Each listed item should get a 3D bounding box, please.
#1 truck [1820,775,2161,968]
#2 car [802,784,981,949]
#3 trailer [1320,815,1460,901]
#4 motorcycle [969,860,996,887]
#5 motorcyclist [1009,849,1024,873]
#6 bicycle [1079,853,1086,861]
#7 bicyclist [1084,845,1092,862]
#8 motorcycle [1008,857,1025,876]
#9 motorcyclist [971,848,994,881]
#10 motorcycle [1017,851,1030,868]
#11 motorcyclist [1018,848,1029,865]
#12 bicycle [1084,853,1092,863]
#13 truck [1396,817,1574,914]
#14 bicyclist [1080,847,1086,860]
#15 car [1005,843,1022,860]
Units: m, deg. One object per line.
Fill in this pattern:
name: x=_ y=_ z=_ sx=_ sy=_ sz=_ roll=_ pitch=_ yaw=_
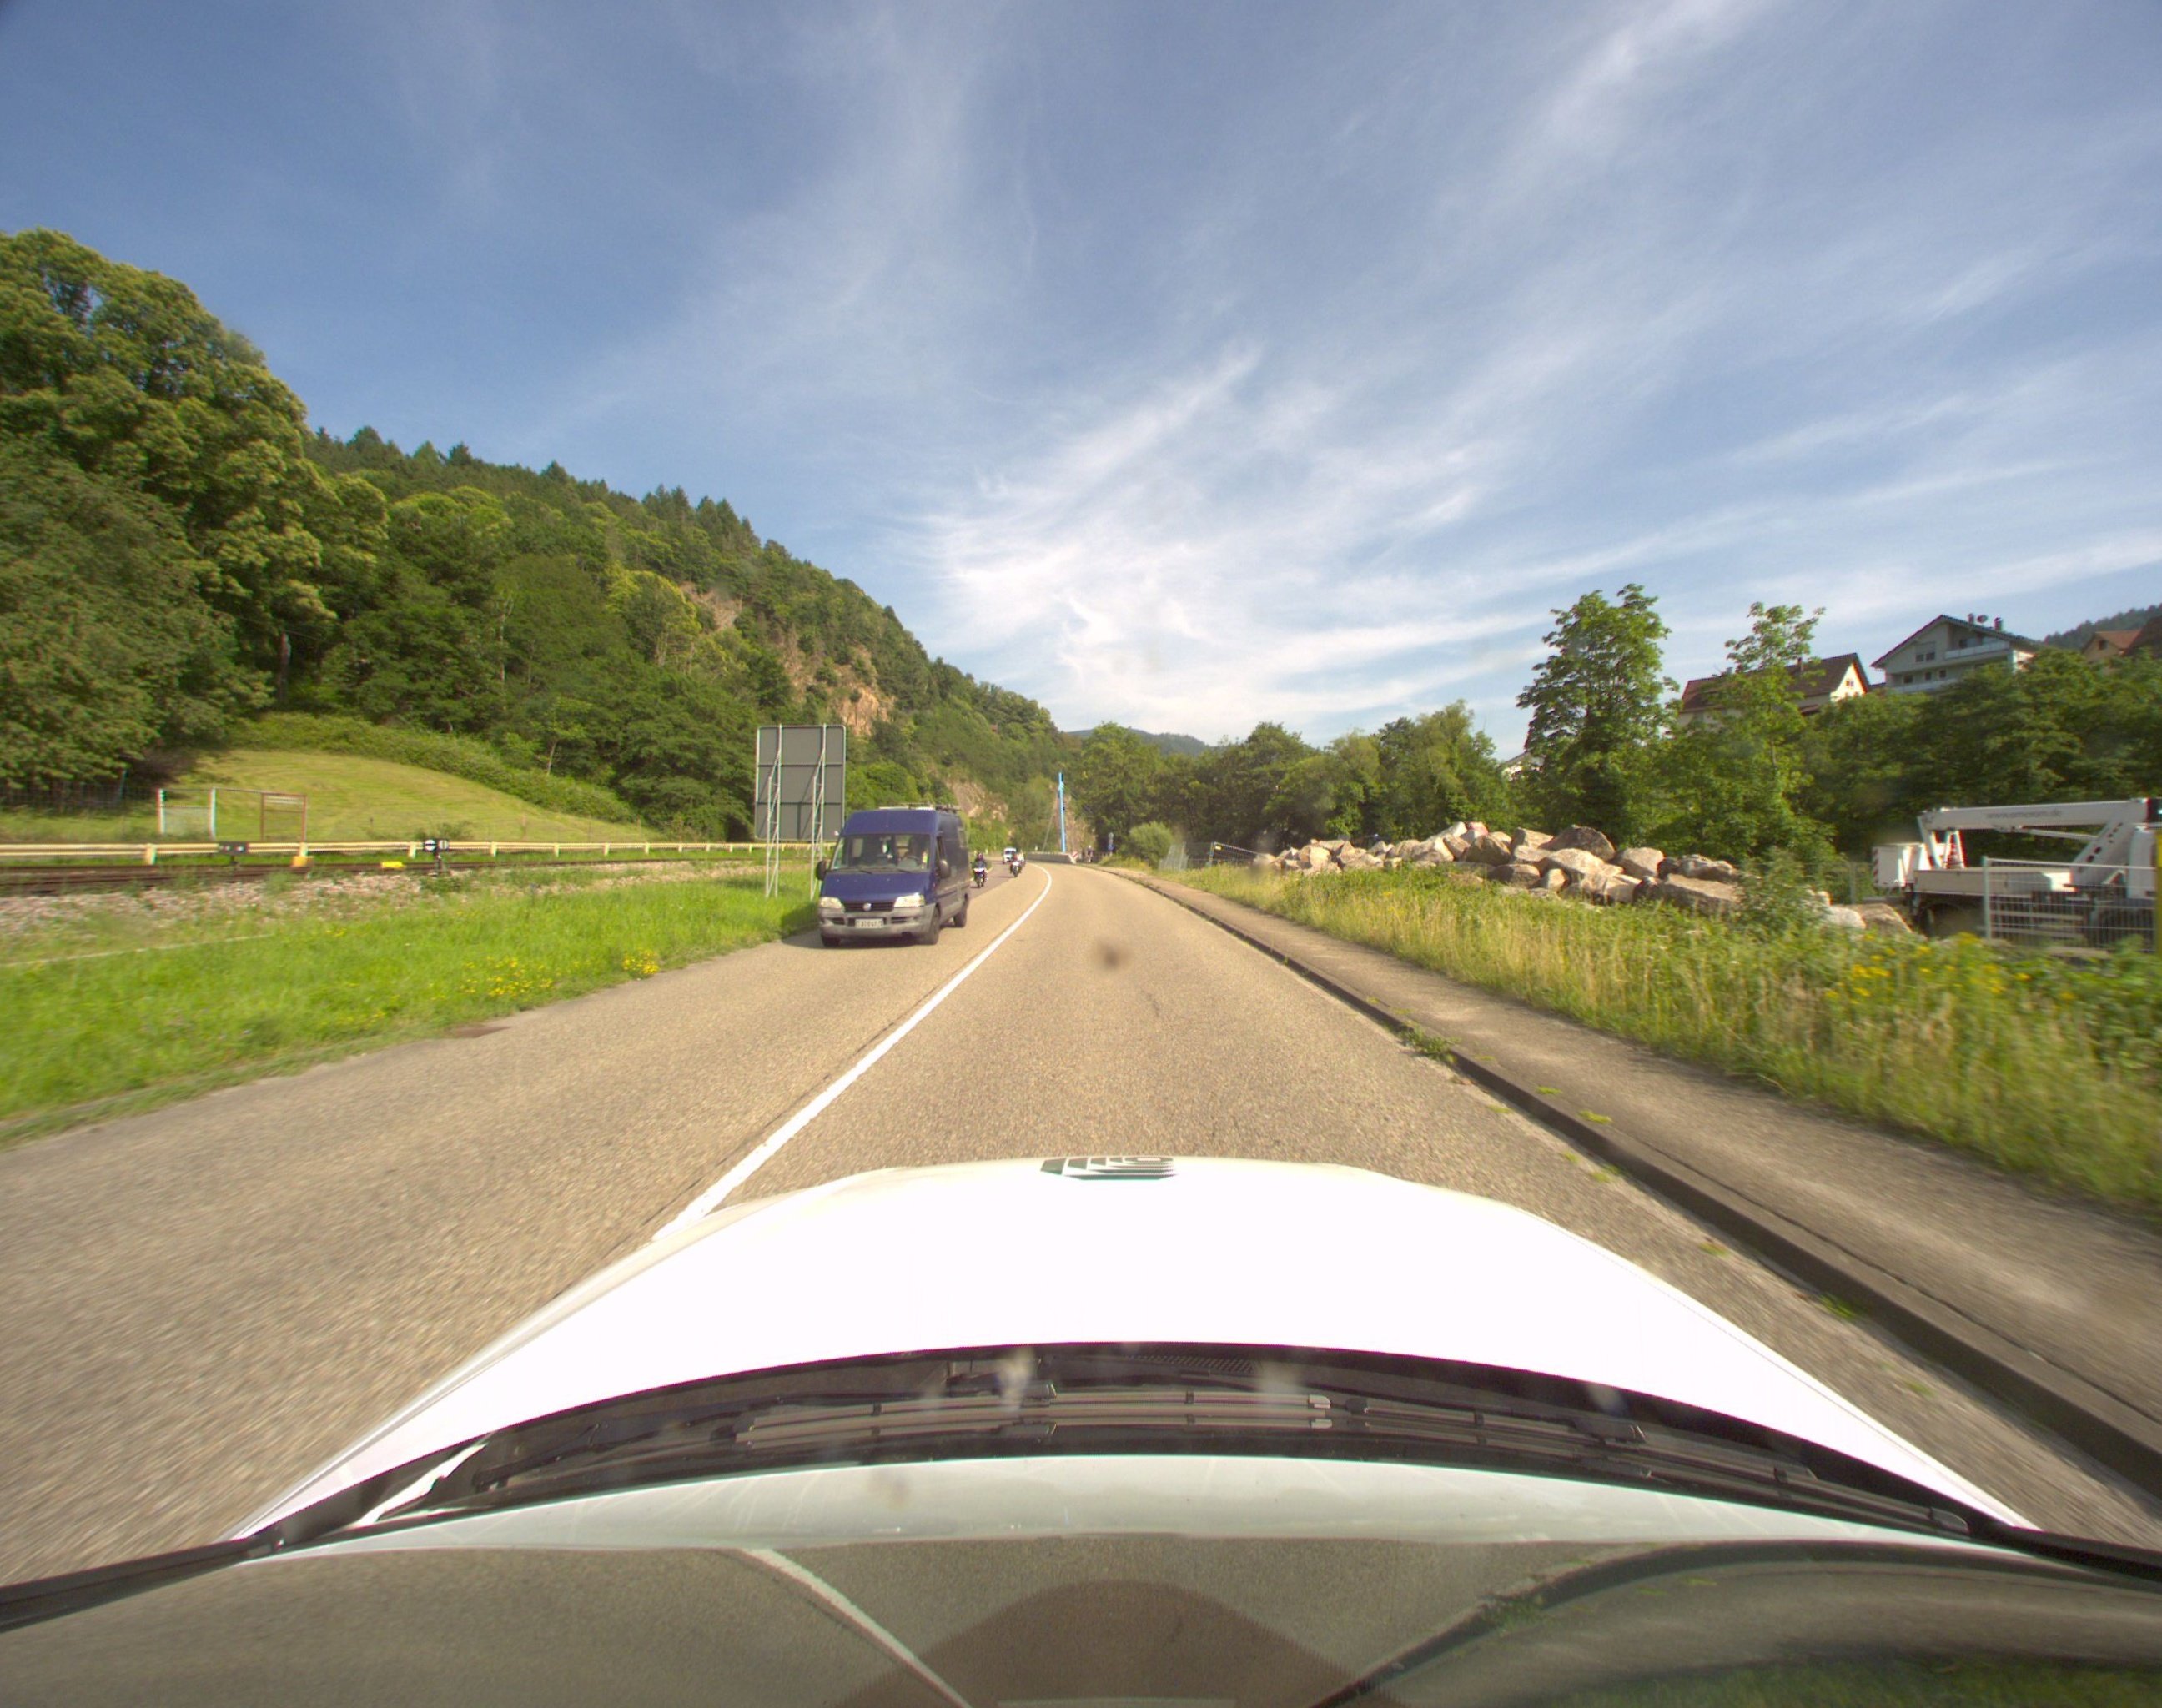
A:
truck: x=23.006 y=0.400 z=19.465 sx=3.090 sy=3.782 sz=8.651 roll=2 pitch=0 yaw=3
car: x=-3.414 y=0.193 z=15.966 sx=2.120 sy=2.615 sz=5.479 roll=-1 pitch=0 yaw=0
trailer: x=17.126 y=0.283 z=46.195 sx=3.360 sy=4.274 sz=9.889 roll=2 pitch=-1 yaw=-6
motorcycle: x=-4.307 y=0.839 z=35.662 sx=0.858 sy=1.130 sz=1.970 roll=-1 pitch=1 yaw=3
motorcyclist: x=-3.920 y=0.404 z=49.652 sx=0.841 sy=1.423 sz=0.963 roll=0 pitch=1 yaw=-1
bicycle: x=0.208 y=0.362 z=93.847 sx=0.599 sy=0.916 sz=1.844 roll=3 pitch=0 yaw=-5
bicyclist: x=0.728 y=-0.090 z=81.273 sx=0.640 sy=1.654 sz=0.807 roll=3 pitch=0 yaw=-5
motorcycle: x=-3.916 y=0.750 z=49.722 sx=0.859 sy=1.130 sz=2.125 roll=-1 pitch=1 yaw=0
motorcyclist: x=-4.308 y=0.450 z=35.725 sx=0.840 sy=1.423 sz=0.964 roll=0 pitch=1 yaw=2
motorcycle: x=-4.895 y=0.486 z=69.339 sx=0.859 sy=1.383 sz=2.404 roll=-1 pitch=1 yaw=1
motorcyclist: x=-4.907 y=0.233 z=69.212 sx=0.855 sy=1.423 sz=0.964 roll=0 pitch=1 yaw=0
bicycle: x=0.703 y=0.383 z=81.256 sx=0.647 sy=0.942 sz=1.844 roll=3 pitch=0 yaw=-5
truck: x=17.905 y=0.469 z=36.987 sx=3.099 sy=3.782 sz=8.627 roll=2 pitch=0 yaw=-6
bicyclist: x=0.223 y=-0.038 z=93.872 sx=0.591 sy=1.401 sz=0.760 roll=3 pitch=0 yaw=-6
car: x=-7.779 y=-0.311 z=93.731 sx=1.868 sy=1.781 sz=4.589 roll=1 pitch=1 yaw=-6
